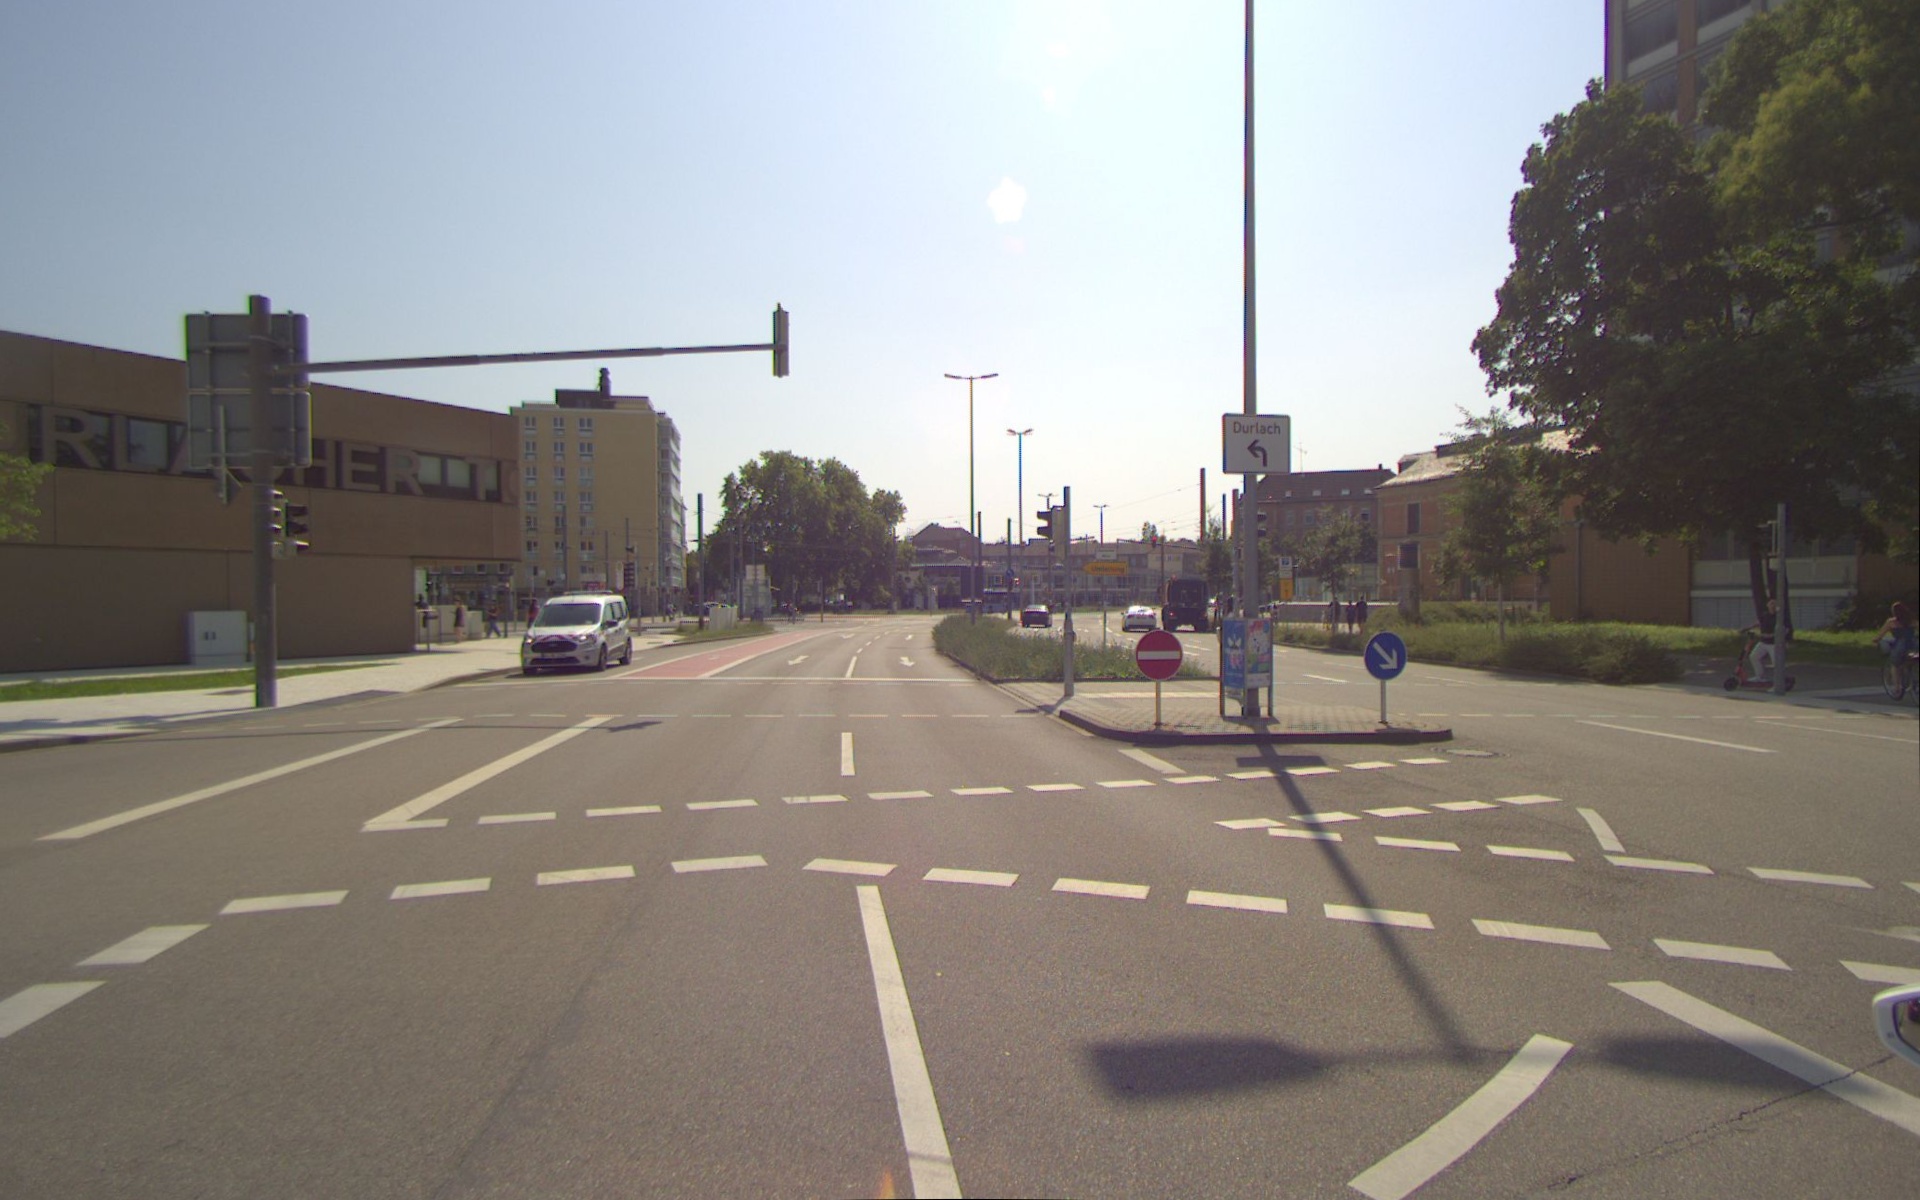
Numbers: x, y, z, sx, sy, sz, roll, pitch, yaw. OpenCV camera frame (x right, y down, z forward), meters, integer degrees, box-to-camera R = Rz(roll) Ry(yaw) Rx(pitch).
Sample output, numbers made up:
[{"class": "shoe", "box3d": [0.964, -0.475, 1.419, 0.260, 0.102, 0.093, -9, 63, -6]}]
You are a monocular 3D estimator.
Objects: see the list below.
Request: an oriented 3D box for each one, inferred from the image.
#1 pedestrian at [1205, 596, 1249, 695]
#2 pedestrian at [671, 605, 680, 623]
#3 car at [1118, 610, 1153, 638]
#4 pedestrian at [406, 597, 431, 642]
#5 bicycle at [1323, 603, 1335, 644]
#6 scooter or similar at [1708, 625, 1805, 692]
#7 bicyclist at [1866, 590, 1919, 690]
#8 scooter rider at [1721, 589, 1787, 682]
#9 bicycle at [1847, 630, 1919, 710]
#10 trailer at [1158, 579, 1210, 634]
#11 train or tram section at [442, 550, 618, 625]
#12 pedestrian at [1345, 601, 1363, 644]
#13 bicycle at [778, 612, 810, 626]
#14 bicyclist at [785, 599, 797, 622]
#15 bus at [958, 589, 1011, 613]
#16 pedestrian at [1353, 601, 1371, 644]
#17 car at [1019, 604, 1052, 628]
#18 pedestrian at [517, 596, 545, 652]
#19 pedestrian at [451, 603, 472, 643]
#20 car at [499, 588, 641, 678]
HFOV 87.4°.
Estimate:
[{"class": "pedestrian", "box3d": [4.780, 0.797, 17.958, 0.686, 1.717, 0.607, -1, 0, 21]}, {"class": "pedestrian", "box3d": [-25.669, 1.244, 90.644, 0.639, 1.654, 0.813, 0, 0, -11]}, {"class": "car", "box3d": [10.213, 1.364, 58.551, 1.728, 1.474, 4.428, 1, 0, 7]}, {"class": "pedestrian", "box3d": [-21.689, 0.773, 40.235, 0.683, 1.787, 0.551, 0, 0, 19]}, {"class": "bicycle", "box3d": [17.435, 1.104, 47.507, 0.448, 1.885, 1.363, 0, 0, 17]}, {"class": "scooter or similar", "box3d": [15.434, 1.133, 19.495, 1.341, 1.251, 0.585, -1, 0, 18]}, {"class": "bicyclist", "box3d": [15.845, 0.663, 16.871, 0.680, 1.620, 0.843, -2, 0, 26]}, {"class": "scooter rider", "box3d": [15.365, 0.678, 19.451, 0.789, 1.762, 0.689, -1, 0, 18]}, {"class": "bicycle", "box3d": [15.963, 1.157, 17.067, 0.683, 1.170, 2.368, -2, 0, 26]}, {"class": "trailer", "box3d": [13.484, 0.369, 60.814, 2.421, 3.048, 6.328, 1, 0, 7]}, {"class": "train or tram section", "box3d": [-22.536, -0.697, 53.191, 3.091, 3.617, 8.223, -2, 0, 32]}, {"class": "pedestrian", "box3d": [18.564, 1.066, 47.315, 0.765, 1.999, 0.753, 0, 1, 20]}, {"class": "bicycle", "box3d": [-12.404, 1.412, 74.957, 2.374, 0.966, 0.602, 0, 0, -12]}, {"class": "bicyclist", "box3d": [-12.615, 0.794, 74.914, 0.827, 1.664, 0.605, -1, 0, -12]}, {"class": "bus", "box3d": [3.320, 0.122, 130.232, 3.004, 2.970, 11.847, 0, 0, 22]}, {"class": "pedestrian", "box3d": [19.204, 1.072, 48.021, 0.765, 1.999, 0.753, 0, 1, 20]}, {"class": "car", "box3d": [4.879, 0.993, 64.391, 1.728, 1.423, 3.983, 1, 0, 10]}, {"class": "pedestrian", "box3d": [-13.491, 0.745, 31.618, 0.616, 1.725, 0.786, 0, 0, -7]}, {"class": "pedestrian", "box3d": [-19.638, 0.911, 39.554, 0.483, 1.559, 0.570, 0, 0, 32]}, {"class": "car", "box3d": [-9.230, 0.717, 24.193, 1.962, 1.884, 4.330, -3, 0, -5]}]
